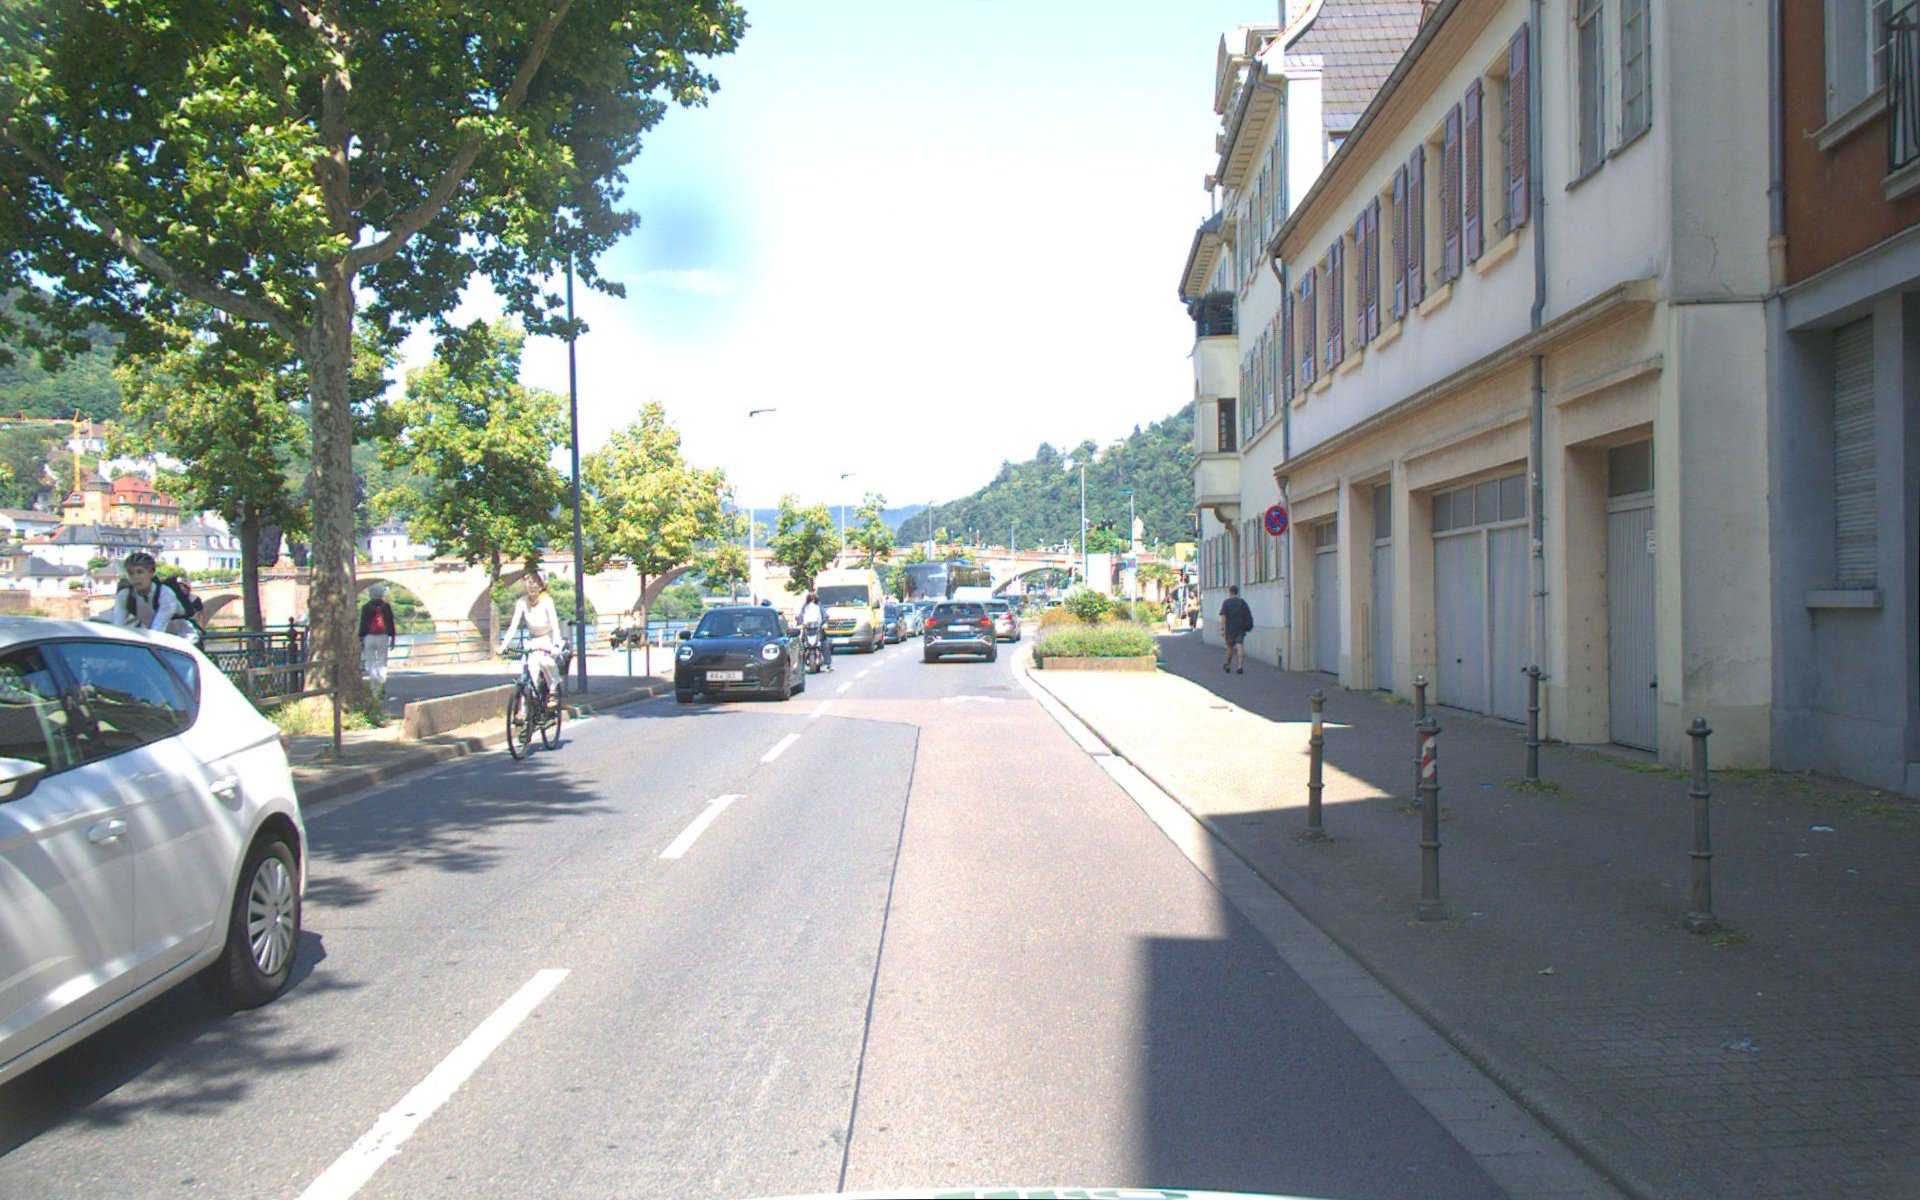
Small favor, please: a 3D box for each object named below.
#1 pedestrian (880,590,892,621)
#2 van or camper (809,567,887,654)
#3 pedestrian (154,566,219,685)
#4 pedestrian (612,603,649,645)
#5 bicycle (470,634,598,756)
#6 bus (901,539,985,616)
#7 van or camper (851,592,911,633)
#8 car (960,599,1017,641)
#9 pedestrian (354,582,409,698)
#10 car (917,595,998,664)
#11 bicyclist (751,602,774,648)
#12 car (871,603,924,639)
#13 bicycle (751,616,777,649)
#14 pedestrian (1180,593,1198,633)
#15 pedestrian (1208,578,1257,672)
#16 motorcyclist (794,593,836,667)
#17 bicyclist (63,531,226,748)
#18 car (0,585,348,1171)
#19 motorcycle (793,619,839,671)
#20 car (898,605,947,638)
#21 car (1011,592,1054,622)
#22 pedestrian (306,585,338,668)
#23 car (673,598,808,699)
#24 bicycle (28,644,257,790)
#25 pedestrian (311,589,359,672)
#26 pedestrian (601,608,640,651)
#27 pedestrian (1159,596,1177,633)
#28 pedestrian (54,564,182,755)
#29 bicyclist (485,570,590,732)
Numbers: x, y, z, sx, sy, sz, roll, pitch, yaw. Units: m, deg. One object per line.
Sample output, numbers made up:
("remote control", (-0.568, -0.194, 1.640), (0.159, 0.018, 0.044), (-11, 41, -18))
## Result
("pedestrian", (-4.319, 0.342, 96.249), (0.607, 1.811, 0.662), (0, -1, 7))
("van or camper", (-3.524, 0.363, 53.351), (2.045, 2.602, 7.091), (0, -1, 0))
("pedestrian", (-13.055, 0.423, 27.948), (0.679, 1.979, 0.886), (0, -1, -2))
("pedestrian", (-10.168, 0.736, 51.053), (0.916, 1.303, 0.850), (0, -1, 7))
("bicycle", (-4.255, 0.921, 16.676), (0.725, 1.096, 1.953), (1, 0, 1))
("bus", (-0.739, -1.053, 88.225), (2.575, 3.627, 12.992), (0, -1, 8))
("van or camper", (-3.004, 0.497, 63.735), (1.952, 1.480, 4.683), (-2, -1, 1))
("car", (1.093, 0.714, 60.955), (1.886, 1.487, 4.834), (0, 0, 4))
("pedestrian", (-8.750, 0.599, 25.025), (0.645, 1.712, 0.755), (3, -1, -15))
("car", (-0.076, 0.699, 41.785), (1.887, 1.580, 4.831), (1, 0, -1))
("bicyclist", (-7.253, 0.906, 60.743), (0.725, 1.697, 1.089), (0, 0, 1))
("car", (-2.659, 0.878, 71.468), (1.775, 1.453, 4.313), (-2, 0, 4))
("bicycle", (-7.181, 1.178, 60.609), (0.697, 1.189, 1.896), (1, 0, 1))
("pedestrian", (10.014, 0.587, 72.248), (0.722, 1.728, 0.934), (-1, -1, 7))
("pedestrian", (5.227, 0.476, 31.752), (0.746, 1.743, 0.696), (-3, -1, 2))
("motorcyclist", (-3.178, 0.656, 36.346), (0.861, 1.611, 1.024), (0, -1, -2))
("bicyclist", (-6.318, 0.300, 12.871), (0.704, 1.611, 1.089), (0, -1, 1))
("car", (-3.300, 0.709, 4.721), (1.667, 1.470, 4.090), (1, 1, -2))
("motorcycle", (-3.127, 0.978, 36.075), (0.865, 1.096, 2.326), (-1, -2, -2))
("car", (-1.737, 0.993, 77.640), (1.778, 1.454, 4.195), (-1, 0, 6))
("car", (3.715, 0.350, 84.091), (1.885, 1.487, 4.835), (0, 0, 7))
("pedestrian", (-12.656, 0.522, 32.812), (0.406, 1.625, 0.451), (0, -1, 6))
("car", (-3.423, 0.740, 26.424), (1.666, 1.484, 4.001), (-1, -1, -1))
("bicycle", (-6.319, 0.868, 12.915), (0.739, 0.996, 1.954), (0, 0, 3))
("pedestrian", (-12.589, 0.616, 33.331), (0.679, 1.644, 0.664), (0, -1, 6))
("pedestrian", (-10.282, 0.891, 50.144), (0.916, 1.303, 0.850), (0, -1, 7))
("pedestrian", (9.113, 0.627, 72.546), (0.745, 1.623, 0.696), (0, 0, 6))
("pedestrian", (-7.287, 0.503, 14.342), (0.746, 1.614, 0.695), (0, -1, -2))
("bicyclist", (-4.236, 0.490, 16.637), (0.751, 1.558, 1.025), (1, 1, 1))
